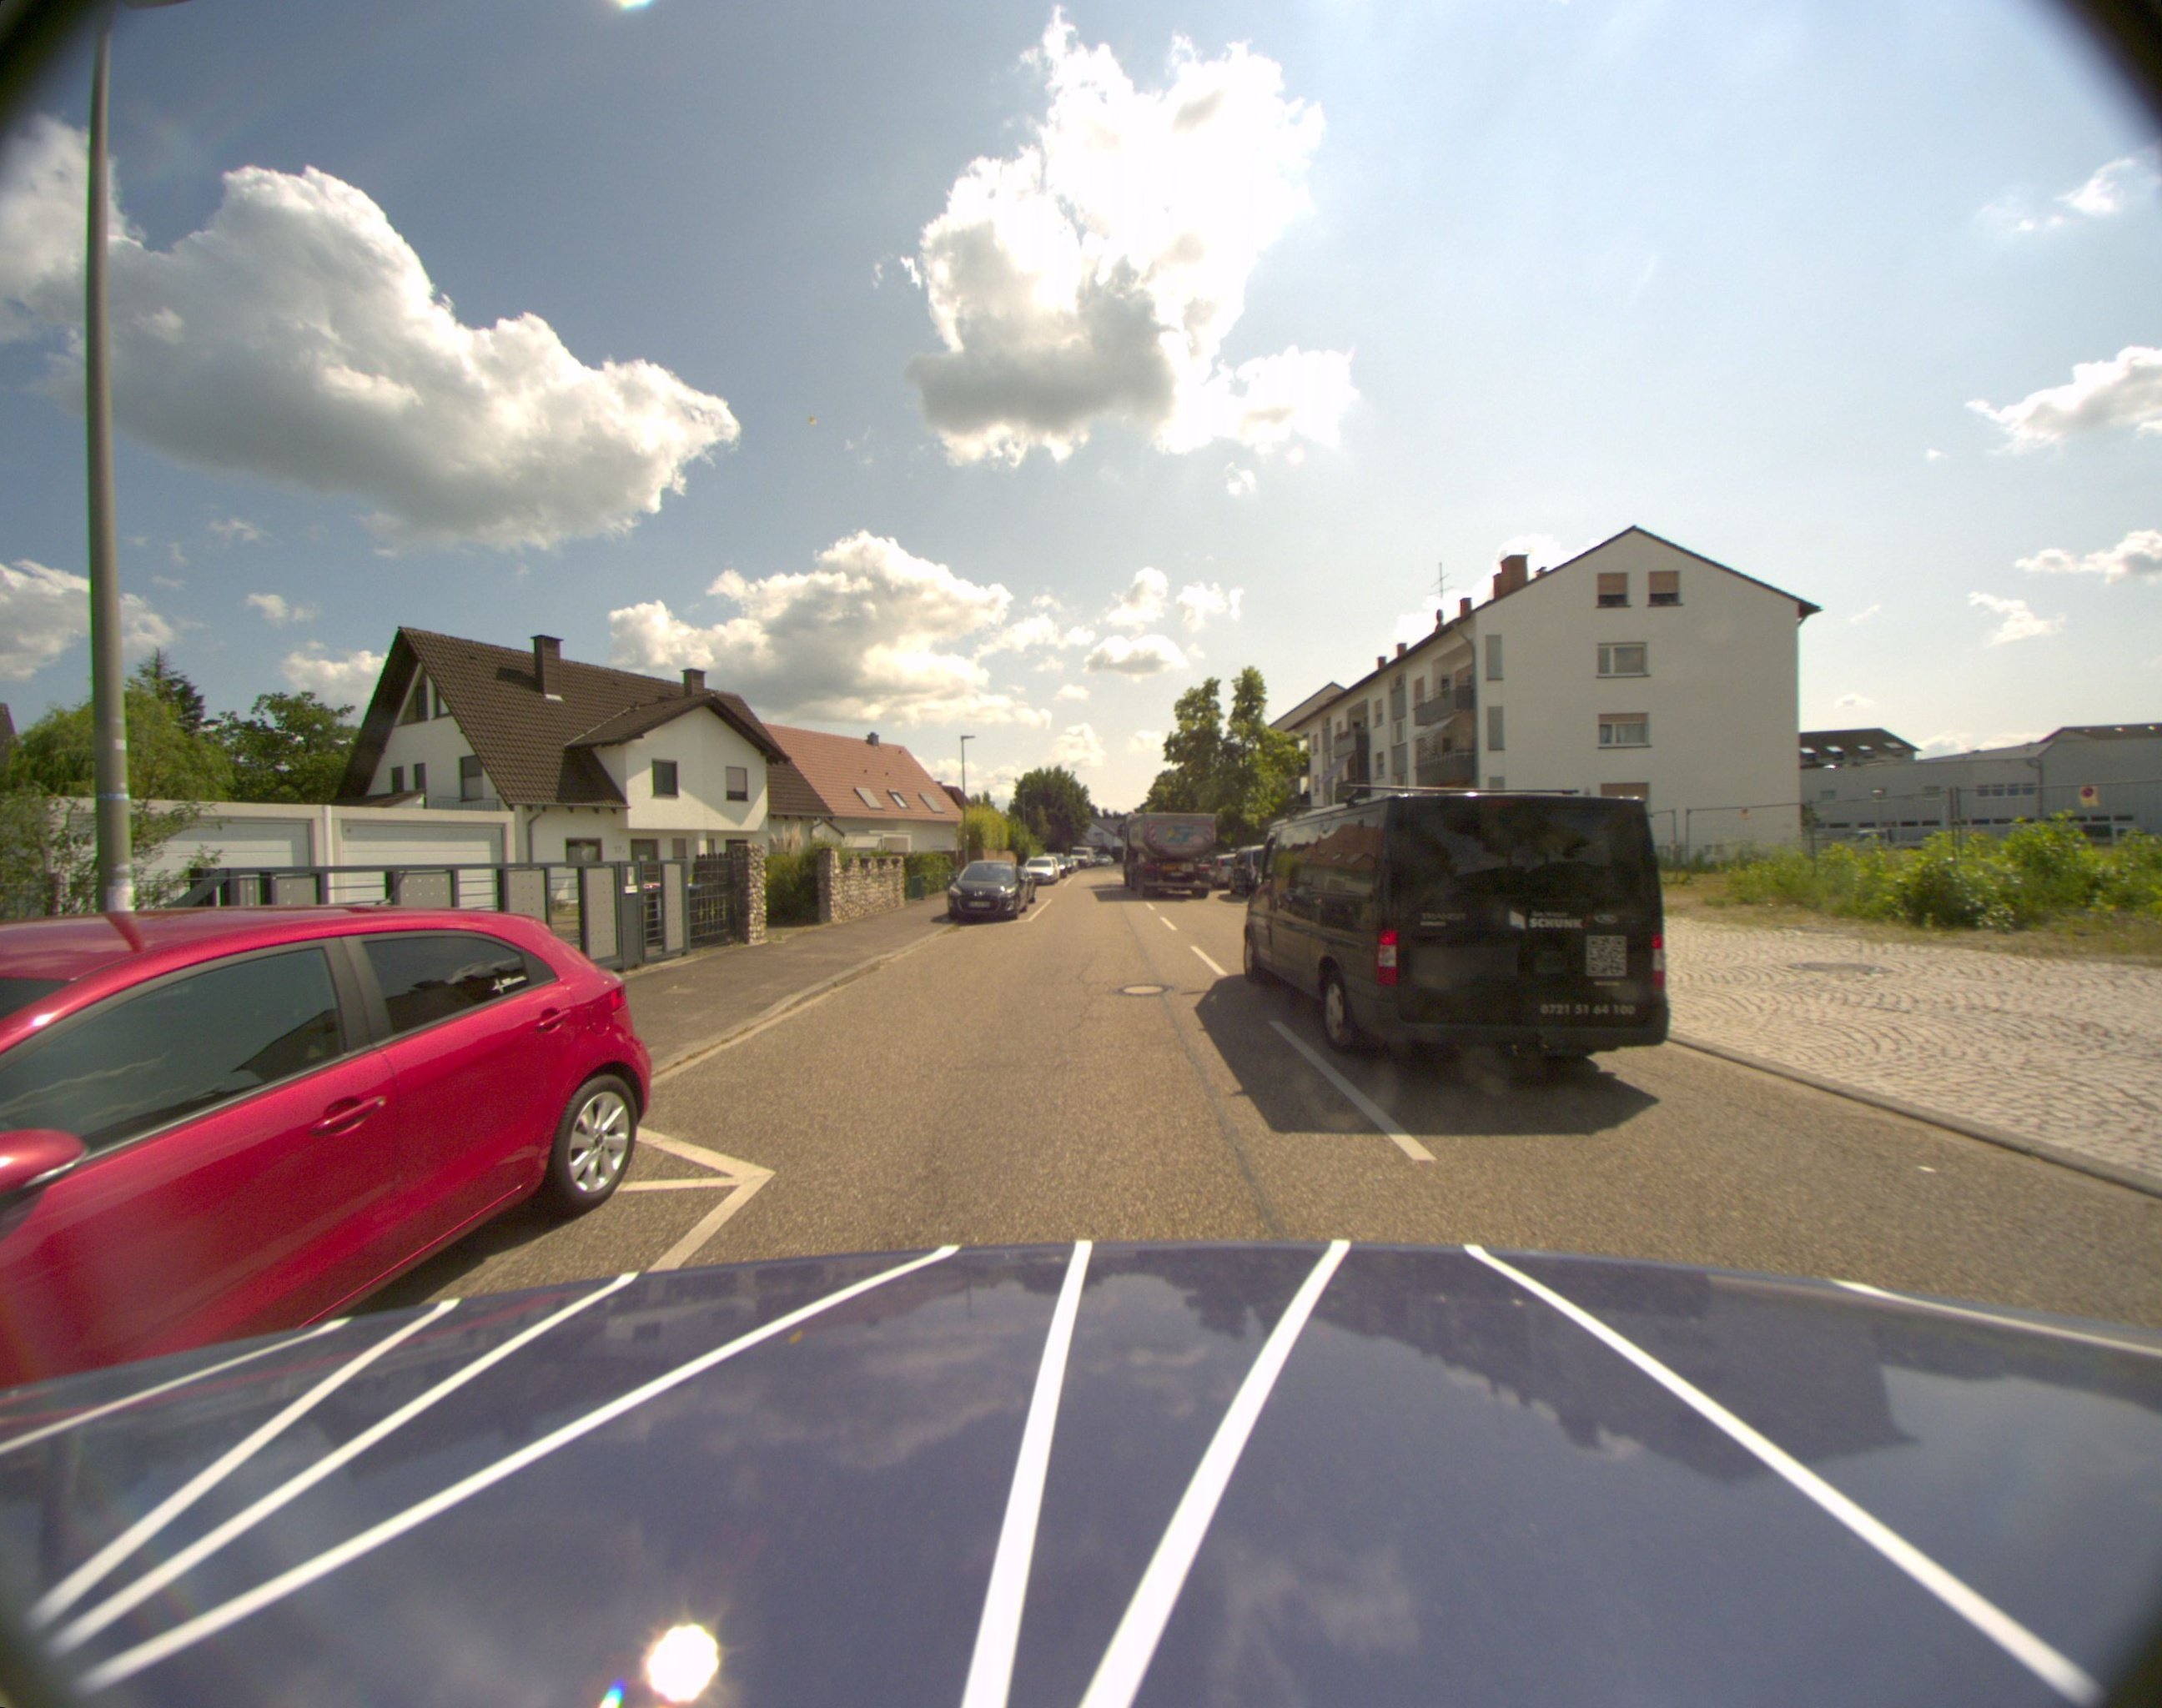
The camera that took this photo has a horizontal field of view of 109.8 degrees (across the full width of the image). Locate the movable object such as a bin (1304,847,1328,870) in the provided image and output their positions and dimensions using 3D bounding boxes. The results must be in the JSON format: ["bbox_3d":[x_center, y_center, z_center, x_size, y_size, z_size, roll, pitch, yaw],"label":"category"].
[{"bbox_3d":[12.204,0.249,39.542,0.956,1.143,0.825,-2,-1,1],"label":"movable object such as a bin"}]

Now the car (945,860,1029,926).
[{"bbox_3d":[-2.423,0.970,20.518,1.748,1.542,4.121,0,0,0],"label":"car"}]

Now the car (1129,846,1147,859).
[{"bbox_3d":[8.596,-0.223,114.388,1.838,1.855,4.287,-1,0,17],"label":"car"}]

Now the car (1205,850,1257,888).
[{"bbox_3d":[6.655,0.613,34.090,1.626,1.461,3.925,-4,1,2],"label":"car"}]

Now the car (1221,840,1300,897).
[{"bbox_3d":[6.560,0.474,28.239,1.814,1.795,4.491,-5,0,1],"label":"car"}]

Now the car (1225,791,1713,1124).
[{"bbox_3d":[2.843,0.611,7.201,2.056,2.022,5.141,0,1,1],"label":"car"}]

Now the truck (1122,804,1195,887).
[{"bbox_3d":[3.443,-0.375,35.201,2.780,3.478,5.881,-1,0,0],"label":"truck"}]

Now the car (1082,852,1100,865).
[{"bbox_3d":[1.264,0.493,92.482,1.683,1.513,4.065,-1,0,8],"label":"car"}]

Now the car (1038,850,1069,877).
[{"bbox_3d":[-1.876,0.641,53.371,1.896,1.763,4.709,-1,0,1],"label":"car"}]

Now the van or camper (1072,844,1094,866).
[{"bbox_3d":[0.277,0.148,85.329,1.972,2.345,5.760,-1,0,5],"label":"van or camper"}]

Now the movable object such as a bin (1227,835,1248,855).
[{"bbox_3d":[12.468,-0.689,60.557,1.299,1.477,1.305,-2,0,-5],"label":"movable object such as a bin"}]

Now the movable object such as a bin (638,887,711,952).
[{"bbox_3d":[-7.114,1.133,13.324,0.776,1.052,0.768,-2,1,18],"label":"movable object such as a bin"}]

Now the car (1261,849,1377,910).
[{"bbox_3d":[6.840,0.706,22.371,1.753,1.452,4.709,-5,-1,-1],"label":"car"}]

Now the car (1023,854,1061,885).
[{"bbox_3d":[-2.134,0.825,42.227,1.749,1.543,4.292,-2,0,1],"label":"car"}]

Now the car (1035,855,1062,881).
[{"bbox_3d":[-2.020,0.828,47.954,1.446,1.496,3.670,-3,0,0],"label":"car"}]

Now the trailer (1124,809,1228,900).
[{"bbox_3d":[3.508,0.003,30.423,2.841,3.051,8.888,-1,0,-1],"label":"trailer"}]

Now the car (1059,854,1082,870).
[{"bbox_3d":[-0.957,0.697,70.842,1.684,1.428,4.063,-1,0,5],"label":"car"}]

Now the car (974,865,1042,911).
[{"bbox_3d":[-2.368,1.068,25.400,1.714,1.310,3.963,-1,0,2],"label":"car"}]

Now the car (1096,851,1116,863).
[{"bbox_3d":[3.241,0.357,99.170,1.817,1.513,4.269,0,0,13],"label":"car"}]

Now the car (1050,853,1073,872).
[{"bbox_3d":[-1.620,0.701,65.509,1.731,1.496,4.296,0,1,2],"label":"car"}]

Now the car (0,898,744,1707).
[{"bbox_3d":[-3.071,1.064,2.581,1.696,1.454,4.755,-2,1,0],"label":"car"}]
